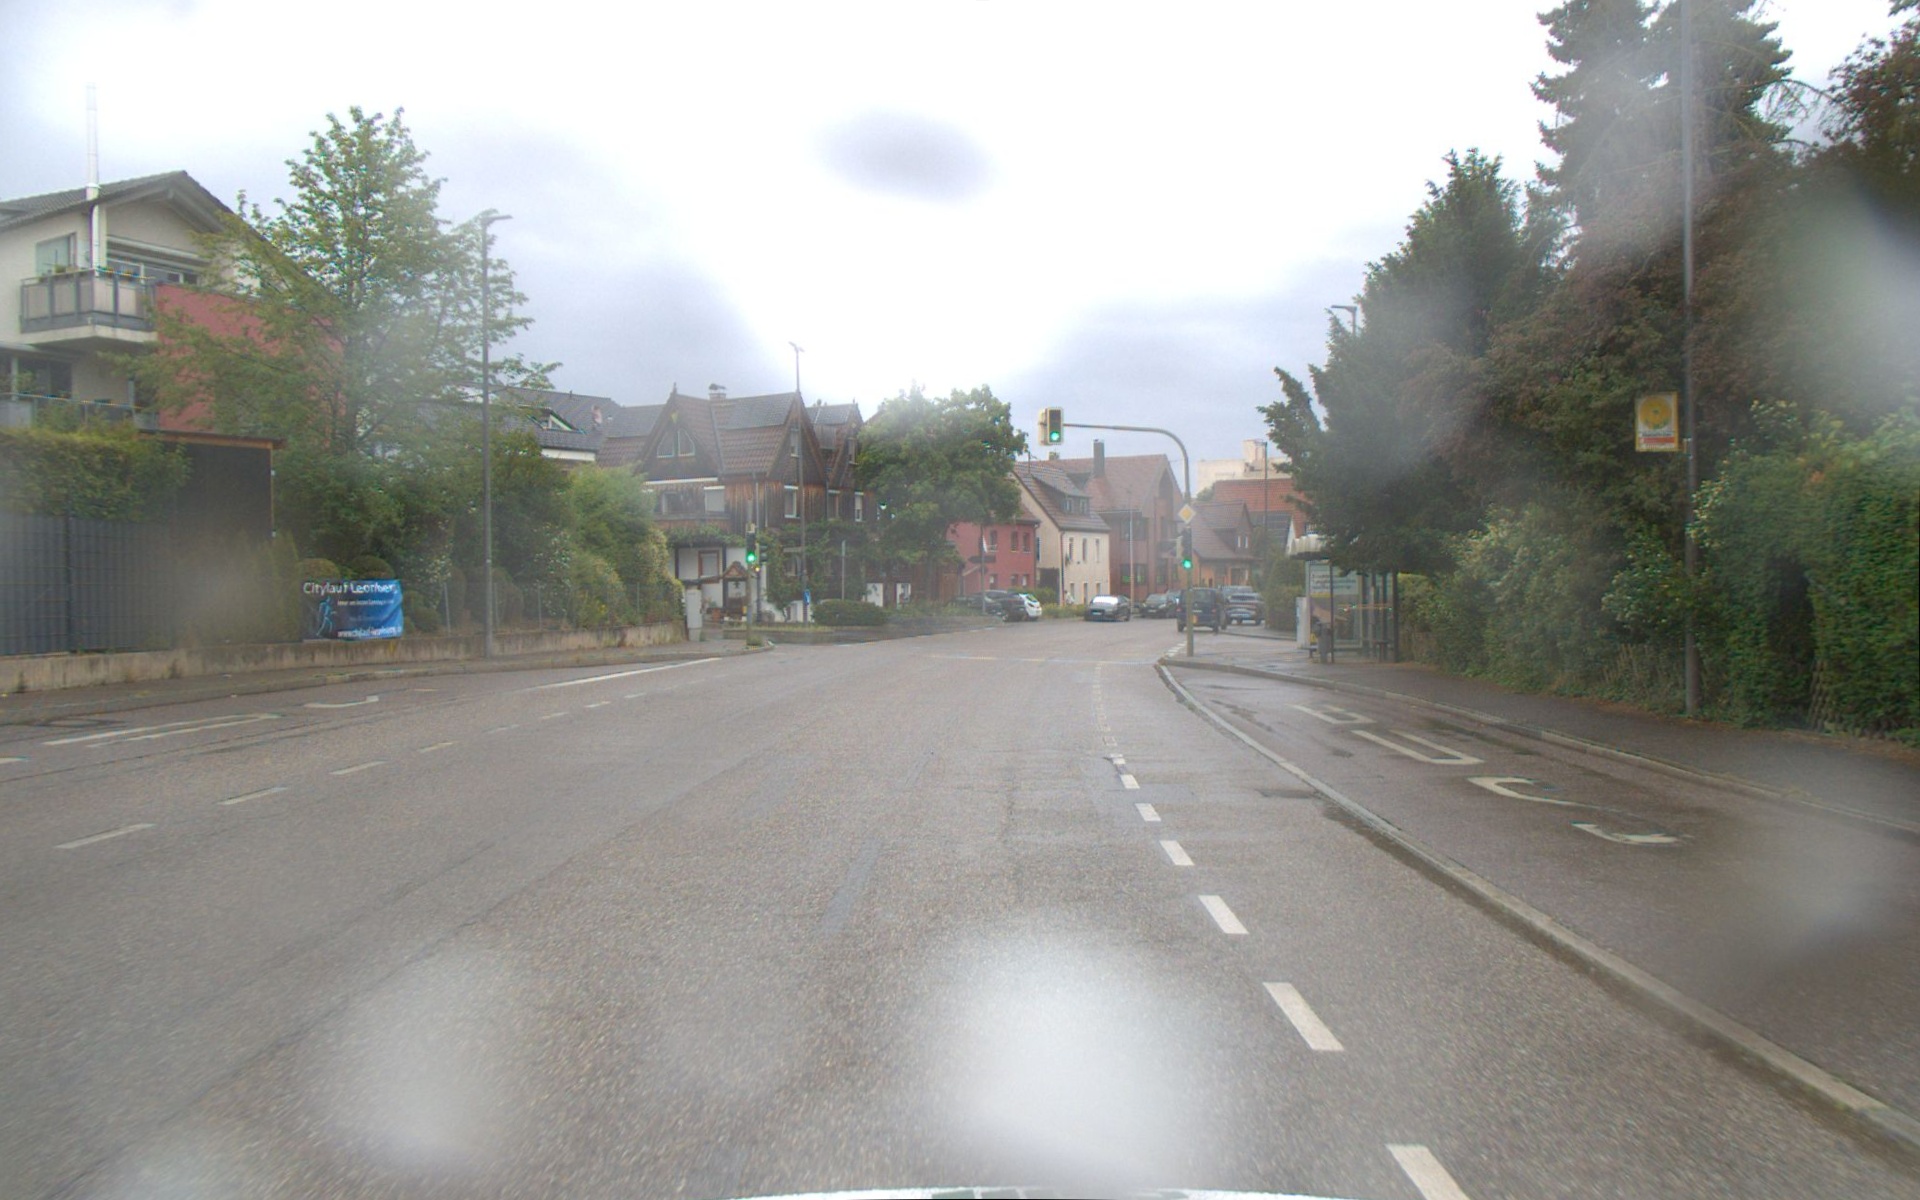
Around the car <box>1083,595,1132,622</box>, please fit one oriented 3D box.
[{"bbox_3d":[8.195,0.456,91.522,1.593,1.379,4.111,2,0,21],"label":"car"}]

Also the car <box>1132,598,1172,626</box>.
[{"bbox_3d":[11.741,0.722,101.119,1.572,1.646,3.275,-1,0,23],"label":"car"}]

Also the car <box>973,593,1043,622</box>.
[{"bbox_3d":[2.555,0.386,88.201,3.392,1.505,1.590,-1,-1,25],"label":"car"}]

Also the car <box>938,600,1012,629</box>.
[{"bbox_3d":[0.739,0.746,83.805,3.377,1.443,1.632,-1,-1,25],"label":"car"}]

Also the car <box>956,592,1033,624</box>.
[{"bbox_3d":[1.790,0.410,86.176,3.506,1.532,1.853,2,1,27],"label":"car"}]

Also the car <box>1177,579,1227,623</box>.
[{"bbox_3d":[11.109,0.046,75.699,1.889,1.935,4.797,1,0,13],"label":"car"}]

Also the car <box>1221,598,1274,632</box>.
[{"bbox_3d":[15.768,0.792,90.558,1.870,1.747,4.555,2,0,22],"label":"car"}]
